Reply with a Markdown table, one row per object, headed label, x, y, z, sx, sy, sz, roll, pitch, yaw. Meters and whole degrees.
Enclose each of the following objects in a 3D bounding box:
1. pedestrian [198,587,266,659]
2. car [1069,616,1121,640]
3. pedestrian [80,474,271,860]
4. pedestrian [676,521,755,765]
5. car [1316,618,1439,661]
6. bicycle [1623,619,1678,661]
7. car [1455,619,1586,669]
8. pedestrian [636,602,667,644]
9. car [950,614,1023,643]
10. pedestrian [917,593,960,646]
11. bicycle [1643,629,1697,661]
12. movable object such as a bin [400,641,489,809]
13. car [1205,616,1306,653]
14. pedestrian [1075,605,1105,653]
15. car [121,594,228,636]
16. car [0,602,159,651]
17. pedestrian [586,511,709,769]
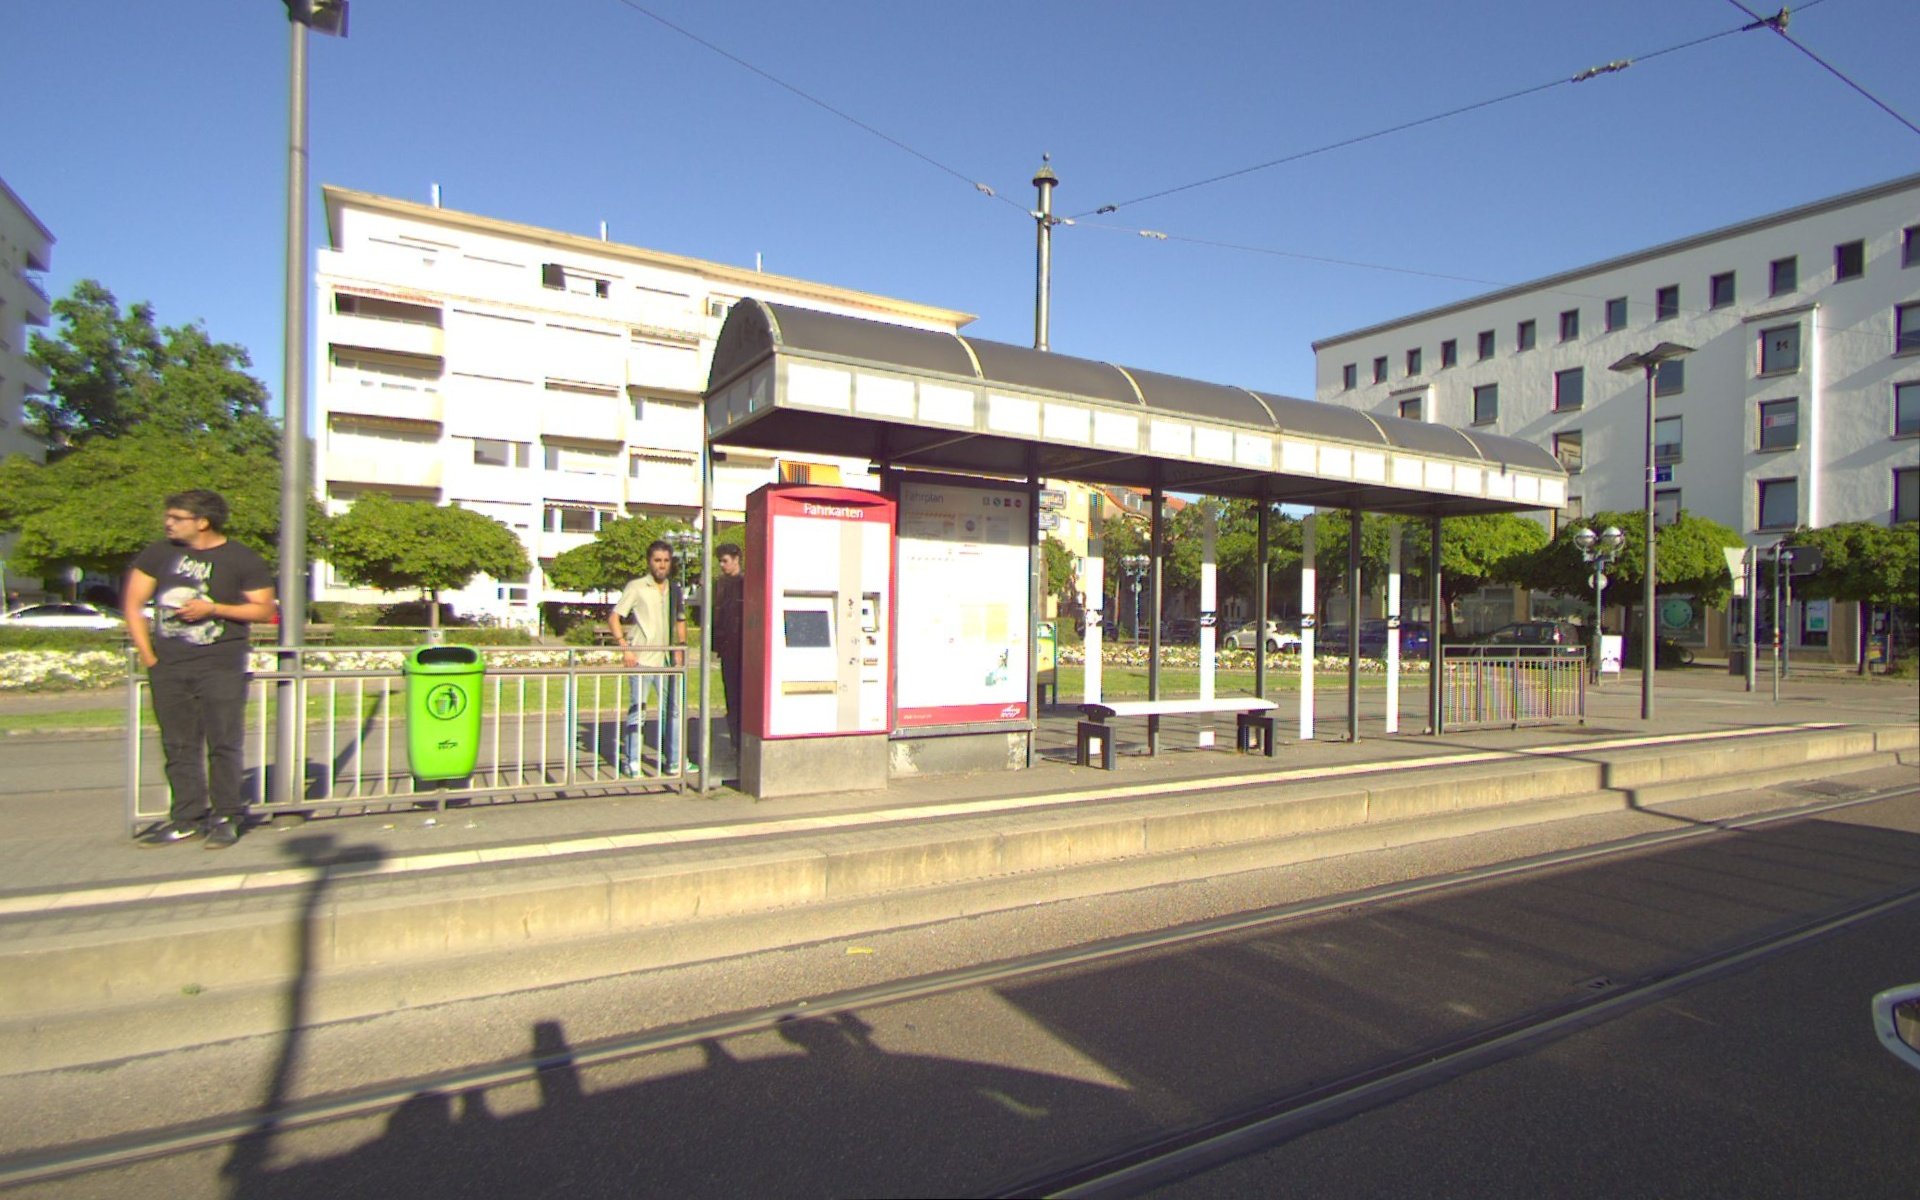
| label | x | y | z | sx | sy | sz | roll | pitch | yaw |
| --- | --- | --- | --- | --- | --- | --- | --- | --- | --- |
| pedestrian | -18.748 | 0.585 | 25.912 | 1.160 | 1.811 | 1.076 | 1 | 0 | -22 |
| car | 9.072 | 1.877 | 67.282 | 1.887 | 1.514 | 4.343 | 2 | 0 | 31 |
| pedestrian | -3.804 | 0.316 | 4.920 | 0.599 | 1.740 | 0.546 | 1 | -3 | -28 |
| pedestrian | -1.959 | 0.343 | 8.049 | 0.519 | 1.883 | 0.426 | 1 | -3 | -27 |
| car | 17.739 | 1.645 | 42.859 | 1.978 | 1.684 | 4.581 | 1 | -1 | -31 |
| bicycle | 27.826 | 1.622 | 40.473 | 2.585 | 1.628 | 0.616 | 1 | -1 | -26 |
| car | 21.009 | 1.617 | 37.809 | 1.804 | 1.728 | 3.968 | 1 | -1 | -30 |
| pedestrian | -10.328 | 0.778 | 33.611 | 0.673 | 1.378 | 1.042 | 1 | -1 | -34 |
| car | 1.321 | 1.430 | 49.670 | 3.271 | 1.372 | 1.638 | 1 | -1 | -29 |
| pedestrian | -0.833 | 0.770 | 39.317 | 1.219 | 2.040 | 1.214 | 1 | -1 | -30 |
| bicycle | 28.152 | 1.776 | 39.829 | 2.586 | 1.206 | 0.615 | 1 | -1 | -27 |
| movable object such as a bin | -2.833 | 0.669 | 5.529 | 0.411 | 0.871 | 0.335 | 1 | -1 | -27 |
| car | 14.022 | 1.600 | 47.876 | 1.835 | 1.628 | 4.581 | 1 | -1 | -31 |
| pedestrian | 5.123 | 1.129 | 39.636 | 0.856 | 1.841 | 0.944 | 1 | -1 | -19 |
| car | -28.909 | 0.560 | 37.047 | 2.899 | 1.506 | 1.407 | 1 | -1 | -30 |
| car | -25.638 | 0.755 | 28.985 | 3.672 | 1.318 | 1.984 | 1 | -1 | -30 |
| pedestrian | -2.321 | 0.299 | 7.453 | 0.760 | 1.797 | 0.613 | 1 | -3 | -28 |
